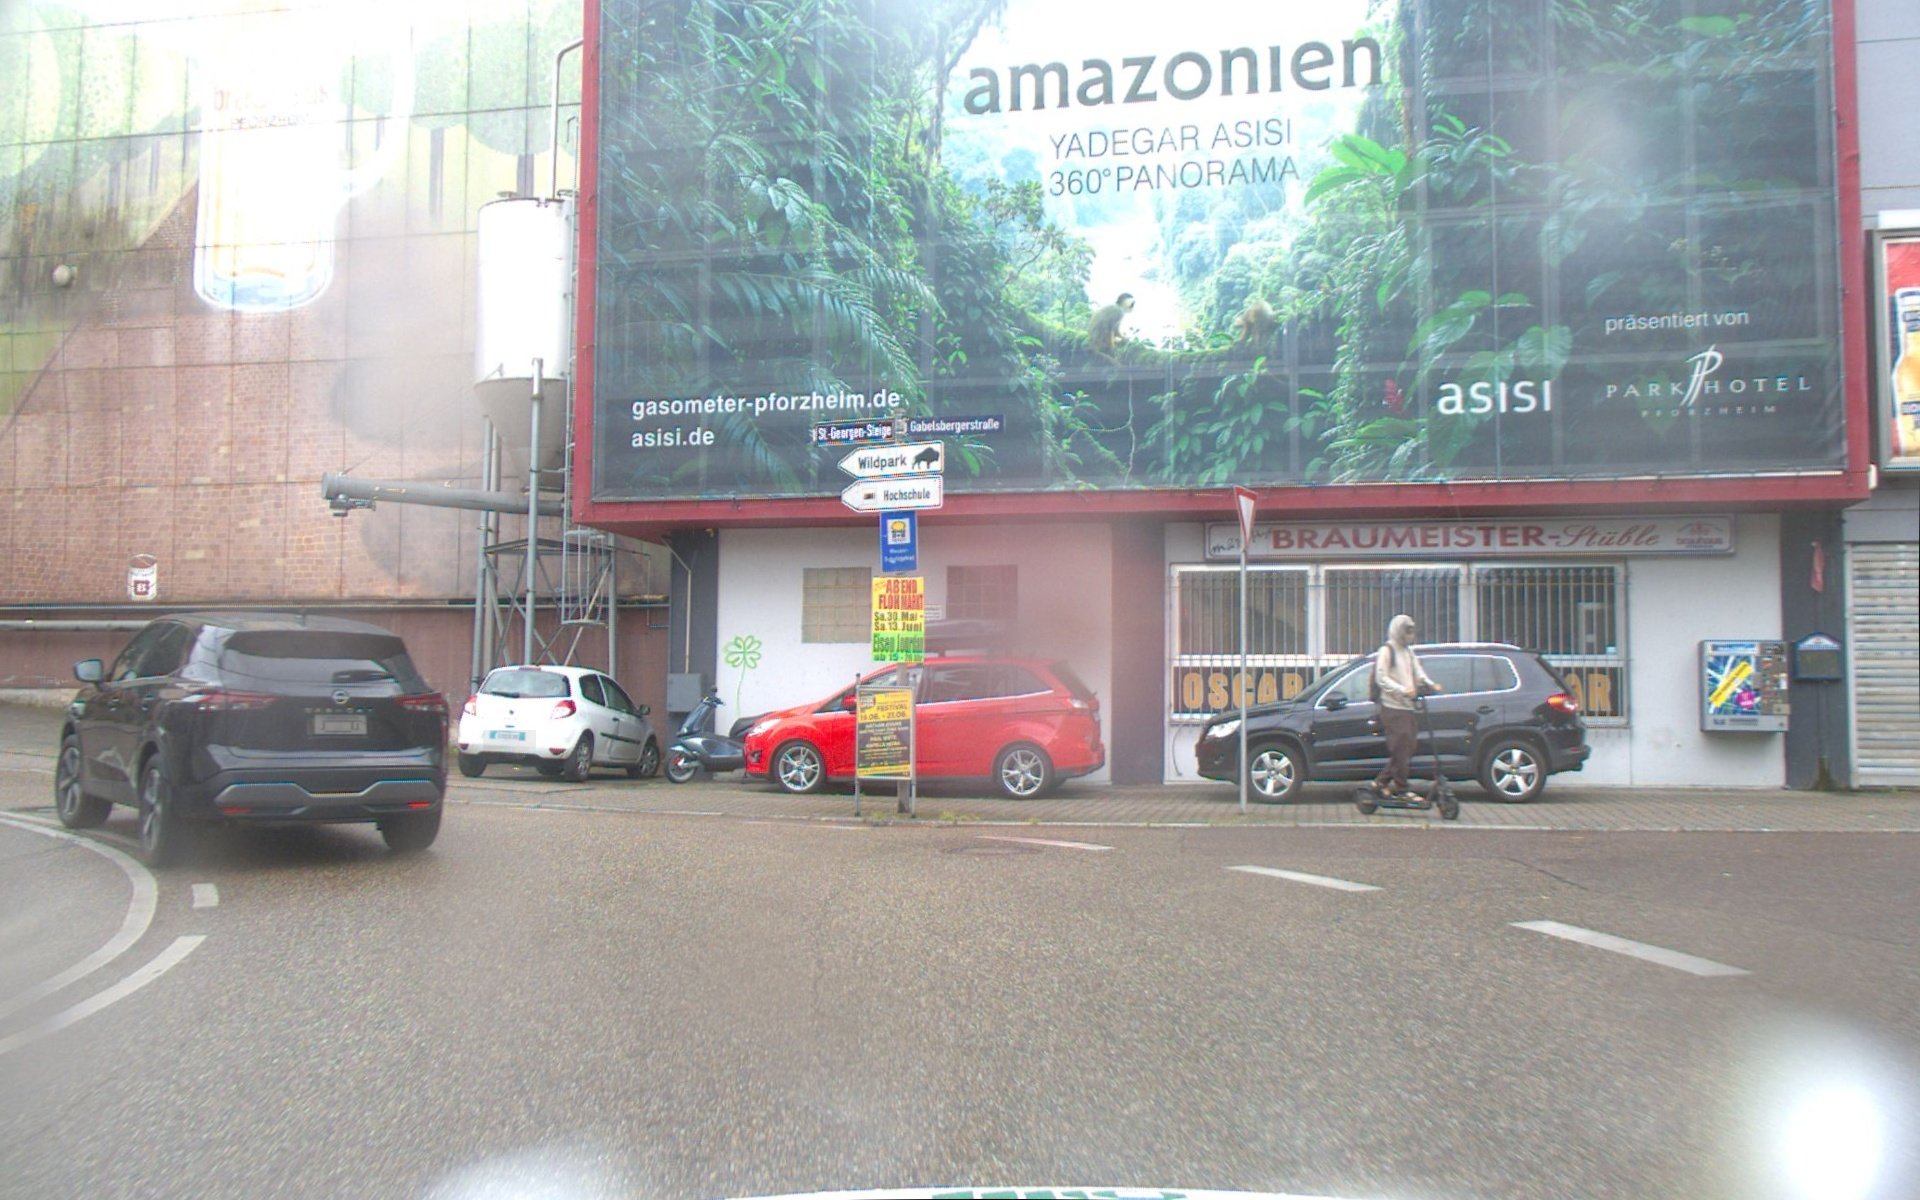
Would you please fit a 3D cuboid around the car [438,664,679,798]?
[{"bbox_3d":[-5.467,1.736,23.059,1.829,1.560,3.996,0,-1,9],"label":"car"}]

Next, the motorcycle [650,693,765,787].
[{"bbox_3d":[-3.272,1.812,21.481,1.389,1.181,0.452,0,-4,0],"label":"motorcycle"}]

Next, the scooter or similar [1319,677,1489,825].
[{"bbox_3d":[4.324,1.441,16.161,0.799,1.346,1.385,1,-2,-45],"label":"scooter or similar"}]

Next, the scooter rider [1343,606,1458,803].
[{"bbox_3d":[4.307,1.001,16.178,0.769,1.853,0.799,-2,-2,45],"label":"scooter rider"}]

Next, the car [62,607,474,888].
[{"bbox_3d":[-5.024,0.917,11.710,1.866,1.622,3.871,2,-2,-36],"label":"car"}]

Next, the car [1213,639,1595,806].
[{"bbox_3d":[4.920,1.363,18.673,3.902,1.742,1.934,-2,-2,13],"label":"car"}]

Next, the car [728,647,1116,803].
[{"bbox_3d":[-0.408,1.479,20.222,4.381,1.742,1.934,0,-3,13],"label":"car"}]
